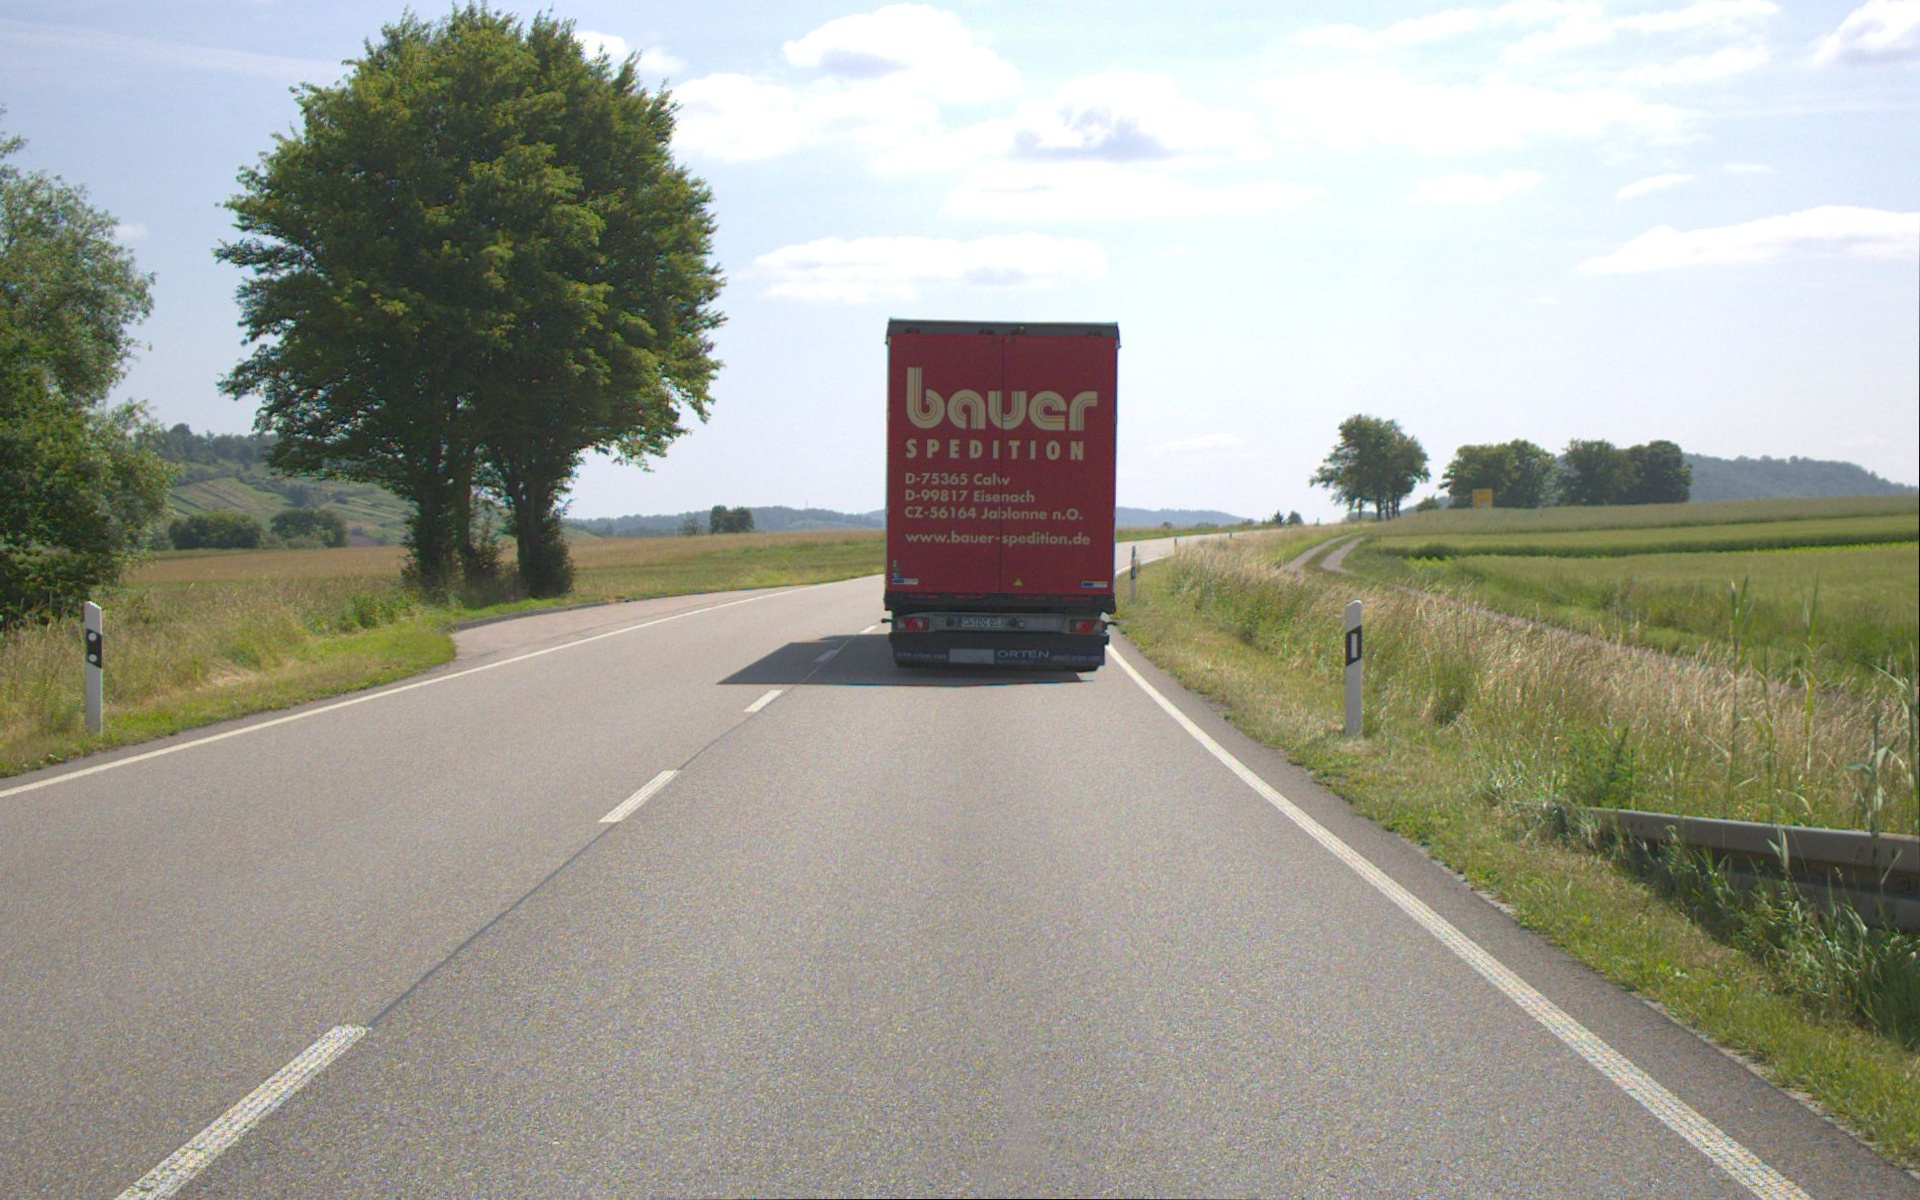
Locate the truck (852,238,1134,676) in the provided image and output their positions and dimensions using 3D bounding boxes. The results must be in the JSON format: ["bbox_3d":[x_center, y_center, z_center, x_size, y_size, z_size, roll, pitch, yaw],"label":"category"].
[{"bbox_3d":[0.256,-1.598,42.067,2.975,4.697,9.366,1,0,-1],"label":"truck"}]
